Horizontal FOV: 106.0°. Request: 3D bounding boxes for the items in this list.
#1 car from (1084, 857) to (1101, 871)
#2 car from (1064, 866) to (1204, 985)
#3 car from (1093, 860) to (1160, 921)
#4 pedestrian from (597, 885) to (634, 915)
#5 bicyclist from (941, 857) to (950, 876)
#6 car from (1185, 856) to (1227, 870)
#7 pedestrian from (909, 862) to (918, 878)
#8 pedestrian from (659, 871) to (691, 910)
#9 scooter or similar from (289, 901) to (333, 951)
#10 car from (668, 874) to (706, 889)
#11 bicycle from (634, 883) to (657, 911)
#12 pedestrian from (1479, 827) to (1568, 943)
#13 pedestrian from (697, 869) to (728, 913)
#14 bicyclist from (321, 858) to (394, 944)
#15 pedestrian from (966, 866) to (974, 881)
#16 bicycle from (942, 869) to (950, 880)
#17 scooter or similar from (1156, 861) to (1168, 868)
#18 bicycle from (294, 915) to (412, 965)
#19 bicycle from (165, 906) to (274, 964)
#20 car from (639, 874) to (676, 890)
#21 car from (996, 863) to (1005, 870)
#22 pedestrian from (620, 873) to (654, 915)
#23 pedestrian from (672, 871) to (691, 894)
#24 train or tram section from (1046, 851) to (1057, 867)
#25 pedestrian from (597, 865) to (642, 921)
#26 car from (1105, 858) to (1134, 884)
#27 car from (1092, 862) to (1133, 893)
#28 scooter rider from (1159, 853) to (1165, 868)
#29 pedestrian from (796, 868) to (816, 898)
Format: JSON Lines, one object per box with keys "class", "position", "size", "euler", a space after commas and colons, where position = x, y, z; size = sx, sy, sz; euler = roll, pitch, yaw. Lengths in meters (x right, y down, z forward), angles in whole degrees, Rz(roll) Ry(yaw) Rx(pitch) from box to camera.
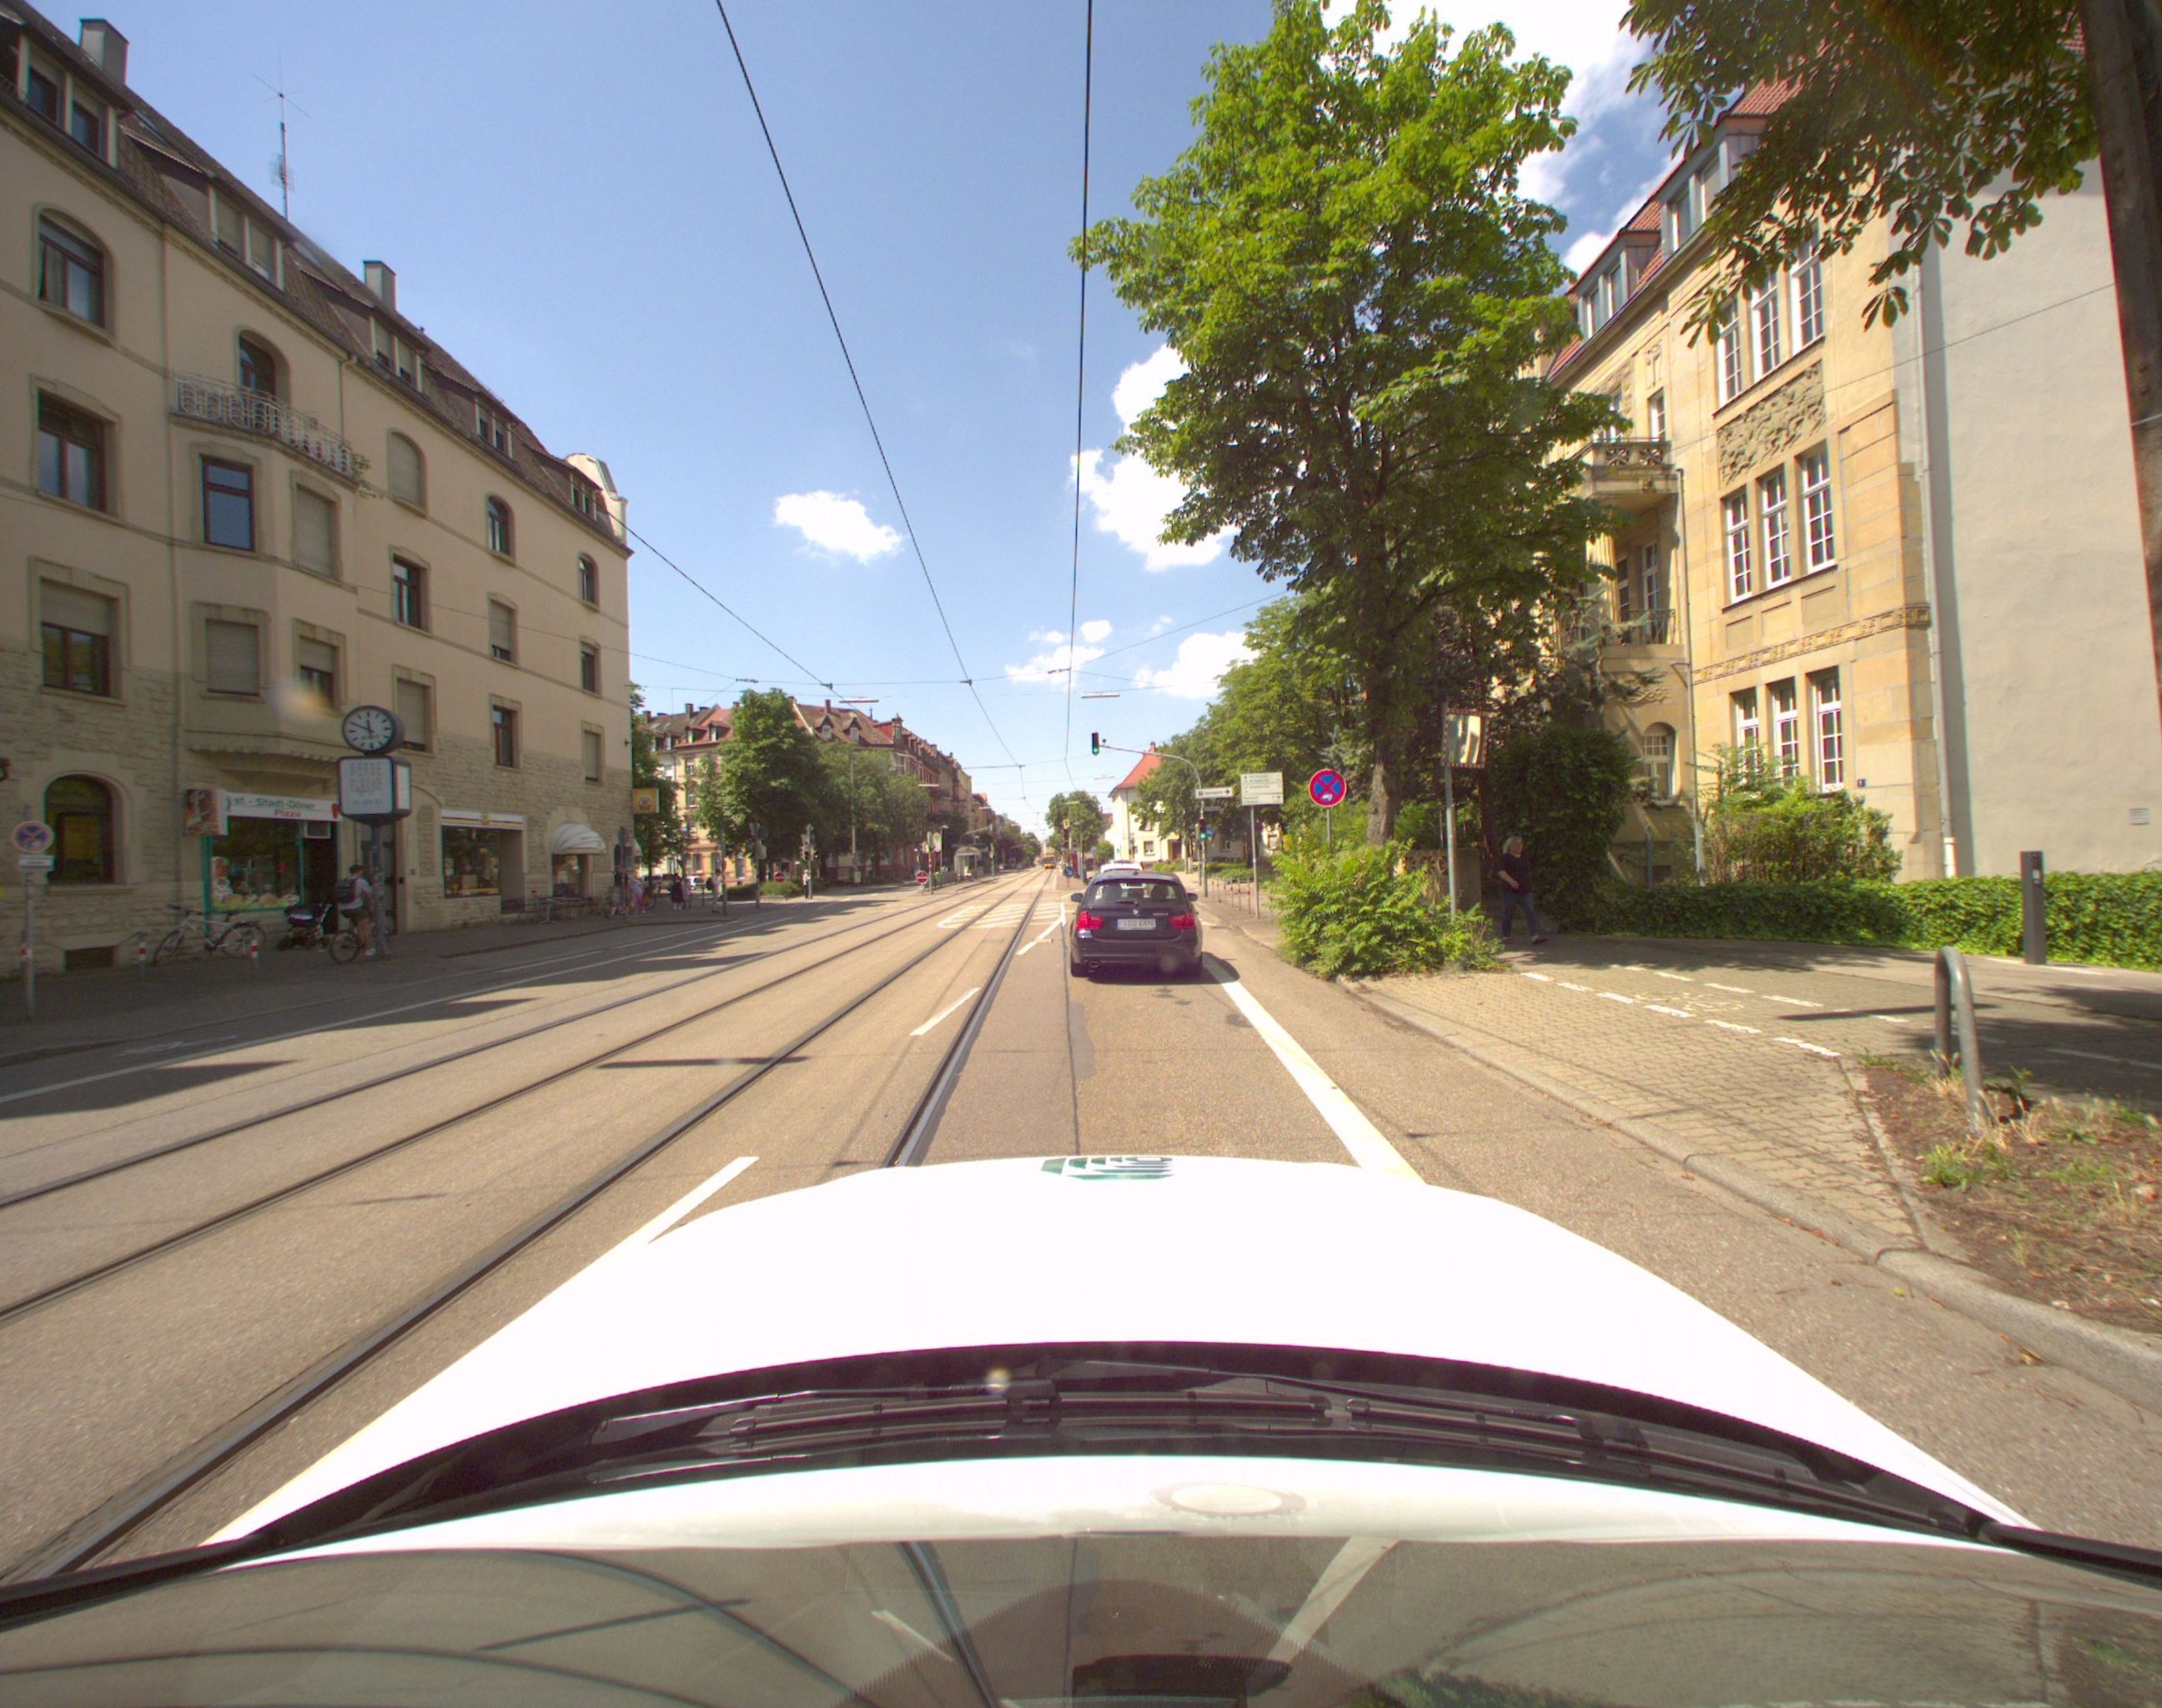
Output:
{"class": "car", "position": [1.588, 1.431, 117.369], "size": [1.990, 1.849, 3.992], "euler": [-2, 0, -5]}
{"class": "car", "position": [0.797, 0.909, 12.319], "size": [1.715, 1.409, 4.569], "euler": [0, 0, 4]}
{"class": "car", "position": [1.245, 0.962, 22.898], "size": [1.678, 1.484, 3.686], "euler": [-2, 0, 2]}
{"class": "pedestrian", "position": [-18.005, 1.760, 31.520], "size": [0.913, 1.077, 0.882], "euler": [-2, -1, -1]}
{"class": "bicyclist", "position": [-14.156, 1.315, 85.221], "size": [0.721, 1.870, 0.825], "euler": [-2, -1, -2]}
{"class": "car", "position": [12.856, 0.958, 83.874], "size": [3.948, 1.243, 1.634], "euler": [-3, -1, 33]}
{"class": "pedestrian", "position": [-19.847, 1.887, 96.455], "size": [0.632, 1.811, 0.745], "euler": [-3, -1, 31]}
{"class": "pedestrian", "position": [-17.444, 1.557, 34.955], "size": [1.013, 1.635, 0.868], "euler": [-3, -1, 41]}
{"class": "scooter or similar", "position": [-17.718, 1.642, 18.762], "size": [0.700, 1.044, 1.195], "euler": [0, -2, -42]}
{"class": "car", "position": [-41.761, 2.932, 86.330], "size": [3.429, 1.471, 1.694], "euler": [-2, -1, 23]}
{"class": "bicycle", "position": [-18.694, 1.863, 34.942], "size": [0.547, 1.128, 1.663], "euler": [-1, -3, -39]}
{"class": "pedestrian", "position": [6.626, 0.456, 12.241], "size": [0.853, 1.645, 0.837], "euler": [-3, -1, 4]}
{"class": "pedestrian", "position": [-14.670, 1.459, 32.401], "size": [0.857, 1.732, 0.775], "euler": [-1, -1, 0]}
{"class": "bicyclist", "position": [-14.519, 0.928, 16.365], "size": [0.755, 1.663, 0.828], "euler": [-1, -1, -8]}
{"class": "pedestrian", "position": [-9.154, 1.583, 67.082], "size": [0.613, 1.243, 0.626], "euler": [-2, -1, -8]}
{"class": "bicycle", "position": [-14.117, 2.148, 85.182], "size": [0.727, 1.101, 1.714], "euler": [0, 1, -3]}
{"class": "scooter or similar", "position": [9.577, 1.253, 96.076], "size": [1.310, 0.837, 0.525], "euler": [-2, -1, -7]}
{"class": "bicycle", "position": [-14.567, 1.709, 16.370], "size": [0.750, 0.818, 1.818], "euler": [2, -1, -3]}
{"class": "bicycle", "position": [-17.474, 1.625, 16.549], "size": [0.366, 1.066, 1.472], "euler": [-2, -2, 22]}
{"class": "car", "position": [-45.523, 3.007, 87.468], "size": [3.429, 1.471, 1.694], "euler": [-2, -1, 23]}
{"class": "car", "position": [-18.926, 3.024, 191.305], "size": [1.787, 1.586, 3.986], "euler": [-1, -1, -10]}
{"class": "pedestrian", "position": [-17.529, 1.577, 32.146], "size": [0.805, 1.595, 0.918], "euler": [-2, -1, -3]}
{"class": "pedestrian", "position": [-33.754, 2.405, 68.854], "size": [0.994, 1.868, 1.019], "euler": [-2, -1, 6]}
{"class": "train or tram section", "position": [-6.710, 1.074, 184.394], "size": [2.184, 3.482, 8.838], "euler": [-2, 0, -2]}
{"class": "pedestrian", "position": [-16.197, 1.345, 28.595], "size": [0.898, 1.891, 1.163], "euler": [-2, -1, -3]}
{"class": "car", "position": [2.363, 1.040, 50.899], "size": [1.685, 1.514, 3.822], "euler": [-2, -1, 2]}
{"class": "car", "position": [1.433, 1.070, 38.151], "size": [1.686, 1.323, 3.819], "euler": [-2, -1, -1]}
{"class": "scooter rider", "position": [9.550, 0.761, 96.070], "size": [0.590, 1.687, 0.527], "euler": [-2, -1, -7]}
{"class": "pedestrian", "position": [-15.929, 1.681, 47.217], "size": [0.843, 1.723, 0.910], "euler": [-2, -1, -32]}
